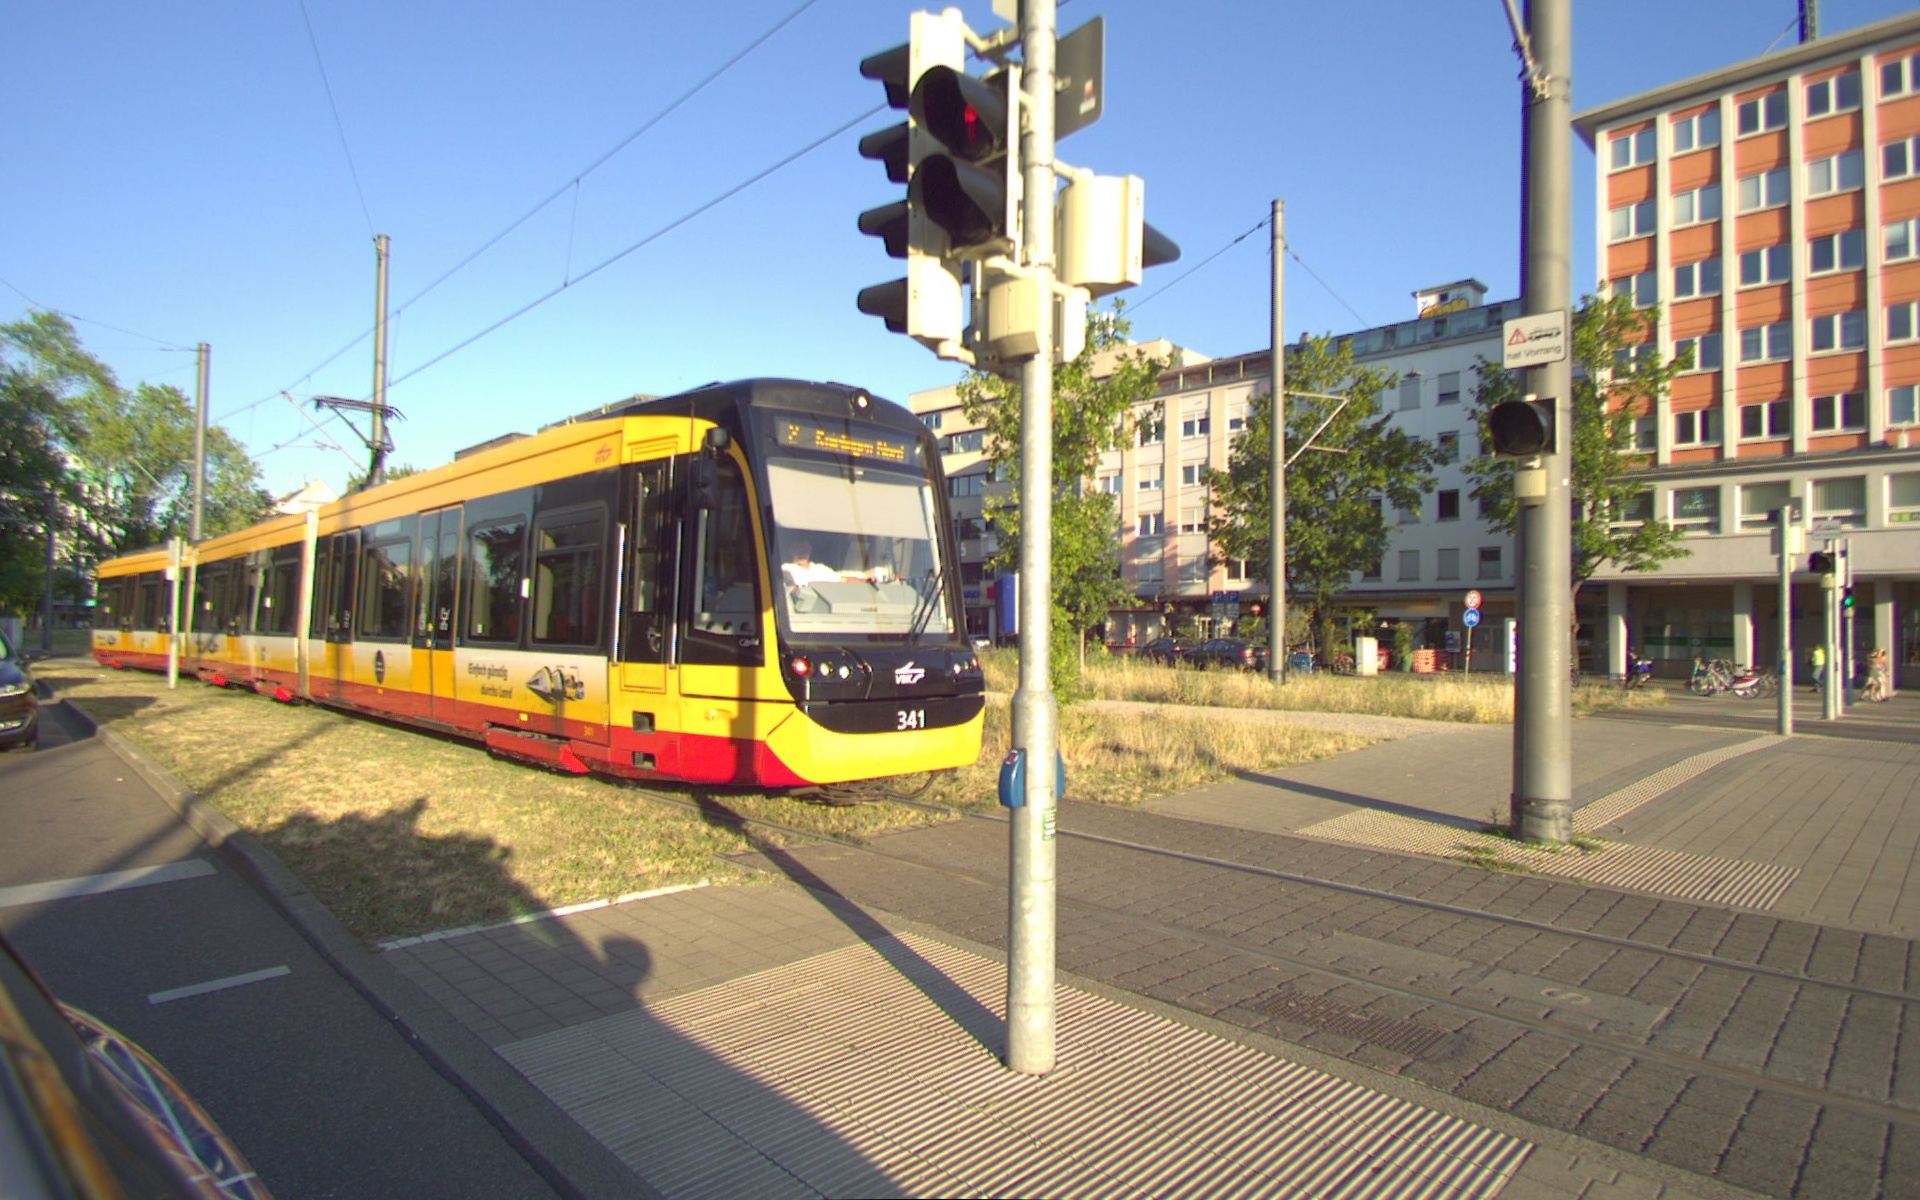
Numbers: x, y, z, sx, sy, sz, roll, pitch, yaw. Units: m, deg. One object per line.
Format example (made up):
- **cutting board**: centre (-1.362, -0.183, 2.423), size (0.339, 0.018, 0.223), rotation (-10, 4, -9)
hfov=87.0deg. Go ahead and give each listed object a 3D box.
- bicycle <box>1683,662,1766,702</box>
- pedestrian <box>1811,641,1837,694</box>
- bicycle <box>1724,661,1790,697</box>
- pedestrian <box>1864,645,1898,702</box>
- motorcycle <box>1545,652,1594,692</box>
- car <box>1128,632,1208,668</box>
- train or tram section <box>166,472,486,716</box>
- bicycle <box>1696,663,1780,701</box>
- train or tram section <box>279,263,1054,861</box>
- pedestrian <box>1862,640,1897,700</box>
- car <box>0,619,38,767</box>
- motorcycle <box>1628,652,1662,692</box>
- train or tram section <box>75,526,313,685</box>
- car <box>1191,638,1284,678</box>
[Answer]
- **bicycle**: centre (22.520, 2.392, 29.842), size (0.462, 1.083, 1.908), rotation (2, -3, -44)
- **pedestrian**: centre (30.030, 2.321, 35.172), size (0.641, 1.805, 0.577), rotation (-2, -3, 44)
- **bicycle**: centre (24.921, 2.458, 31.667), size (0.389, 1.083, 1.562), rotation (2, -3, -44)
- **pedestrian**: centre (27.919, 2.215, 30.683), size (0.730, 1.697, 0.577), rotation (-2, -3, 45)
- **motorcycle**: centre (21.083, 2.473, 35.034), size (0.375, 1.328, 1.392), rotation (2, -3, -42)
- **car**: centre (10.367, 2.489, 50.766), size (1.965, 1.714, 4.013), rotation (1, -2, -24)
- **train or tram section**: centre (-13.612, 0.030, 20.920), size (12.189, 3.767, 2.844), rotation (-1, -2, 45)
- **bicycle**: centre (23.779, 2.497, 30.967), size (0.462, 1.083, 1.997), rotation (2, -3, -44)
- **train or tram section**: centre (-4.887, -0.115, 12.089), size (2.875, 3.767, 13.225), rotation (2, -2, -45)
- **pedestrian**: centre (28.397, 2.141, 31.243), size (0.740, 1.832, 0.714), rotation (2, -3, -44)
- **car**: centre (-11.848, 0.964, 11.500), size (1.863, 1.497, 4.729), rotation (2, -3, -44)
- **motorcycle**: centre (23.541, 2.454, 34.790), size (1.808, 1.328, 0.546), rotation (2, -3, -42)
- **train or tram section**: centre (-22.331, 0.250, 29.063), size (12.183, 3.767, 2.875), rotation (-1, -2, 41)
- **car**: centre (12.492, 2.592, 45.769), size (1.965, 1.697, 4.013), rotation (1, -2, -23)
